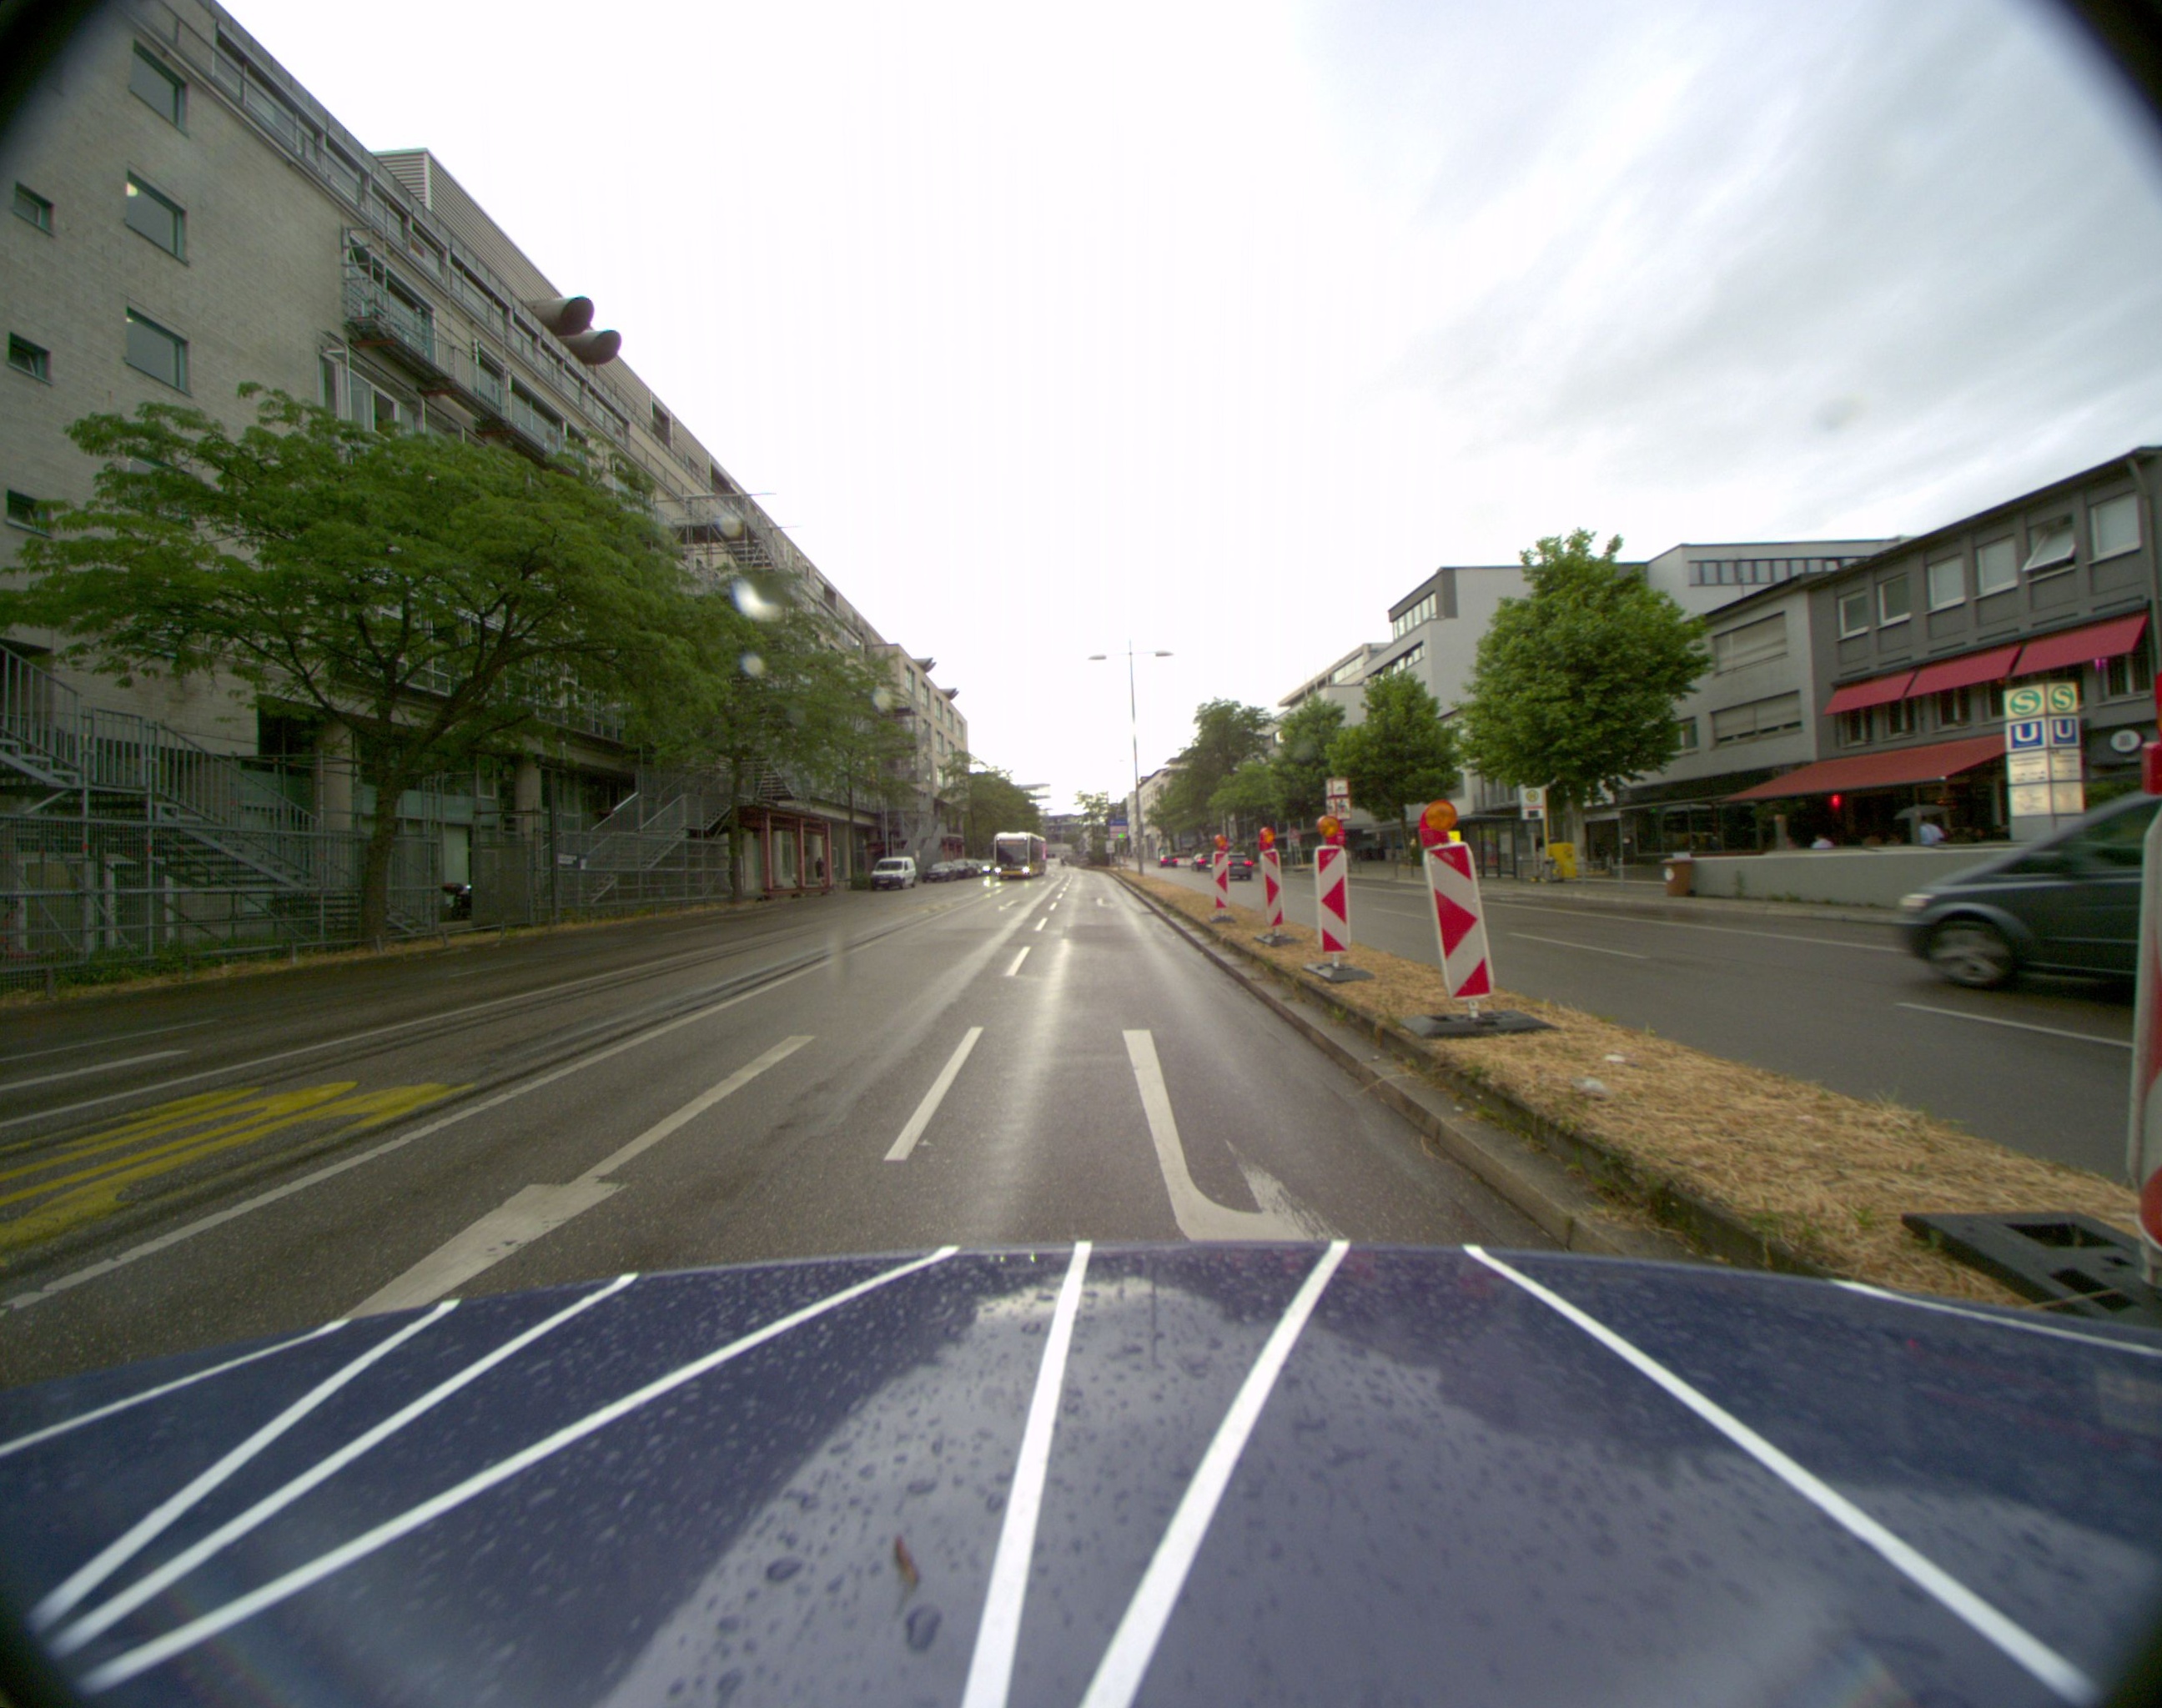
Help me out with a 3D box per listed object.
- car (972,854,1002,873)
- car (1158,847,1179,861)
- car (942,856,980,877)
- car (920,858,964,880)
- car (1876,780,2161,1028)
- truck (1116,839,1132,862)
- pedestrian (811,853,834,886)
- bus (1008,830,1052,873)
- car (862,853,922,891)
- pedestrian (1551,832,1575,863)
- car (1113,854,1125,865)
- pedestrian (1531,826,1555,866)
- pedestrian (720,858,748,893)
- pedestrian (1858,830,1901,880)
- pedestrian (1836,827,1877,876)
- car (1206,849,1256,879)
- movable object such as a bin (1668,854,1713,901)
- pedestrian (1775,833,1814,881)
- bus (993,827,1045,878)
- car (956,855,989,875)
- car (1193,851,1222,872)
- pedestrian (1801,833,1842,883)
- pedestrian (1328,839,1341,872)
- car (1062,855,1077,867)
[{"bbox_3d":[-8.894,0.898,72.427,2.147,1.637,4.816,-2,1,0],"label":"car"},{"bbox_3d":[9.915,-0.014,85.927,1.692,1.545,4.419,-2,1,-2],"label":"car"},{"bbox_3d":[-9.624,0.980,61.221,2.147,1.486,4.816,-2,1,0],"label":"car"},{"bbox_3d":[-9.893,1.032,54.423,2.147,1.329,4.816,-2,1,0],"label":"car"},{"bbox_3d":[9.368,0.361,5.424,1.999,1.916,4.962,-2,1,-4],"label":"car"},{"bbox_3d":[7.102,-0.560,127.117,1.999,3.557,7.572,-2,0,-2],"label":"truck"},{"bbox_3d":[-16.226,0.951,47.755,1.009,2.002,1.039,-2,1,1],"label":"pedestrian"},{"bbox_3d":[-4.380,-0.285,67.204,2.890,3.420,9.709,-2,1,1],"label":"bus"},{"bbox_3d":[-10.526,0.938,42.658,2.213,1.895,4.329,-2,1,0],"label":"car"},{"bbox_3d":[24.576,-0.335,38.746,0.774,1.556,0.767,-2,1,8],"label":"pedestrian"},{"bbox_3d":[6.952,0.983,139.431,1.999,2.002,3.999,-2,1,-2],"label":"car"},{"bbox_3d":[23.595,-0.426,38.844,0.774,2.002,0.767,-2,1,8],"label":"pedestrian"},{"bbox_3d":[-18.292,1.125,40.125,1.009,1.789,0.846,-2,1,-1],"label":"pedestrian"},{"bbox_3d":[24.994,0.035,23.795,0.669,1.520,0.611,-2,1,3],"label":"pedestrian"},{"bbox_3d":[25.008,-0.076,24.509,0.669,1.520,0.611,-2,1,4],"label":"pedestrian"},{"bbox_3d":[8.029,0.509,40.978,1.692,1.501,4.290,-2,0,-2],"label":"car"},{"bbox_3d":[14.564,0.553,18.171,0.507,1.094,0.660,-2,1,-2],"label":"movable object such as a bin"},{"bbox_3d":[23.356,0.101,24.884,0.669,1.520,0.611,-2,1,3],"label":"pedestrian"},{"bbox_3d":[-4.531,-0.173,57.453,2.890,3.430,9.756,-2,1,1],"label":"bus"},{"bbox_3d":[-9.464,0.939,66.691,2.147,1.552,4.816,-2,1,0],"label":"car"},{"bbox_3d":[10.092,0.655,60.819,1.691,1.422,4.216,-2,-3,1],"label":"car"},{"bbox_3d":[23.040,0.119,23.645,0.669,1.520,0.611,-2,1,3],"label":"pedestrian"},{"bbox_3d":[14.311,0.089,42.927,0.575,1.815,0.580,-2,1,7],"label":"pedestrian"},{"bbox_3d":[-2.012,1.160,132.043,1.998,2.002,4.001,-2,1,6],"label":"car"}]
